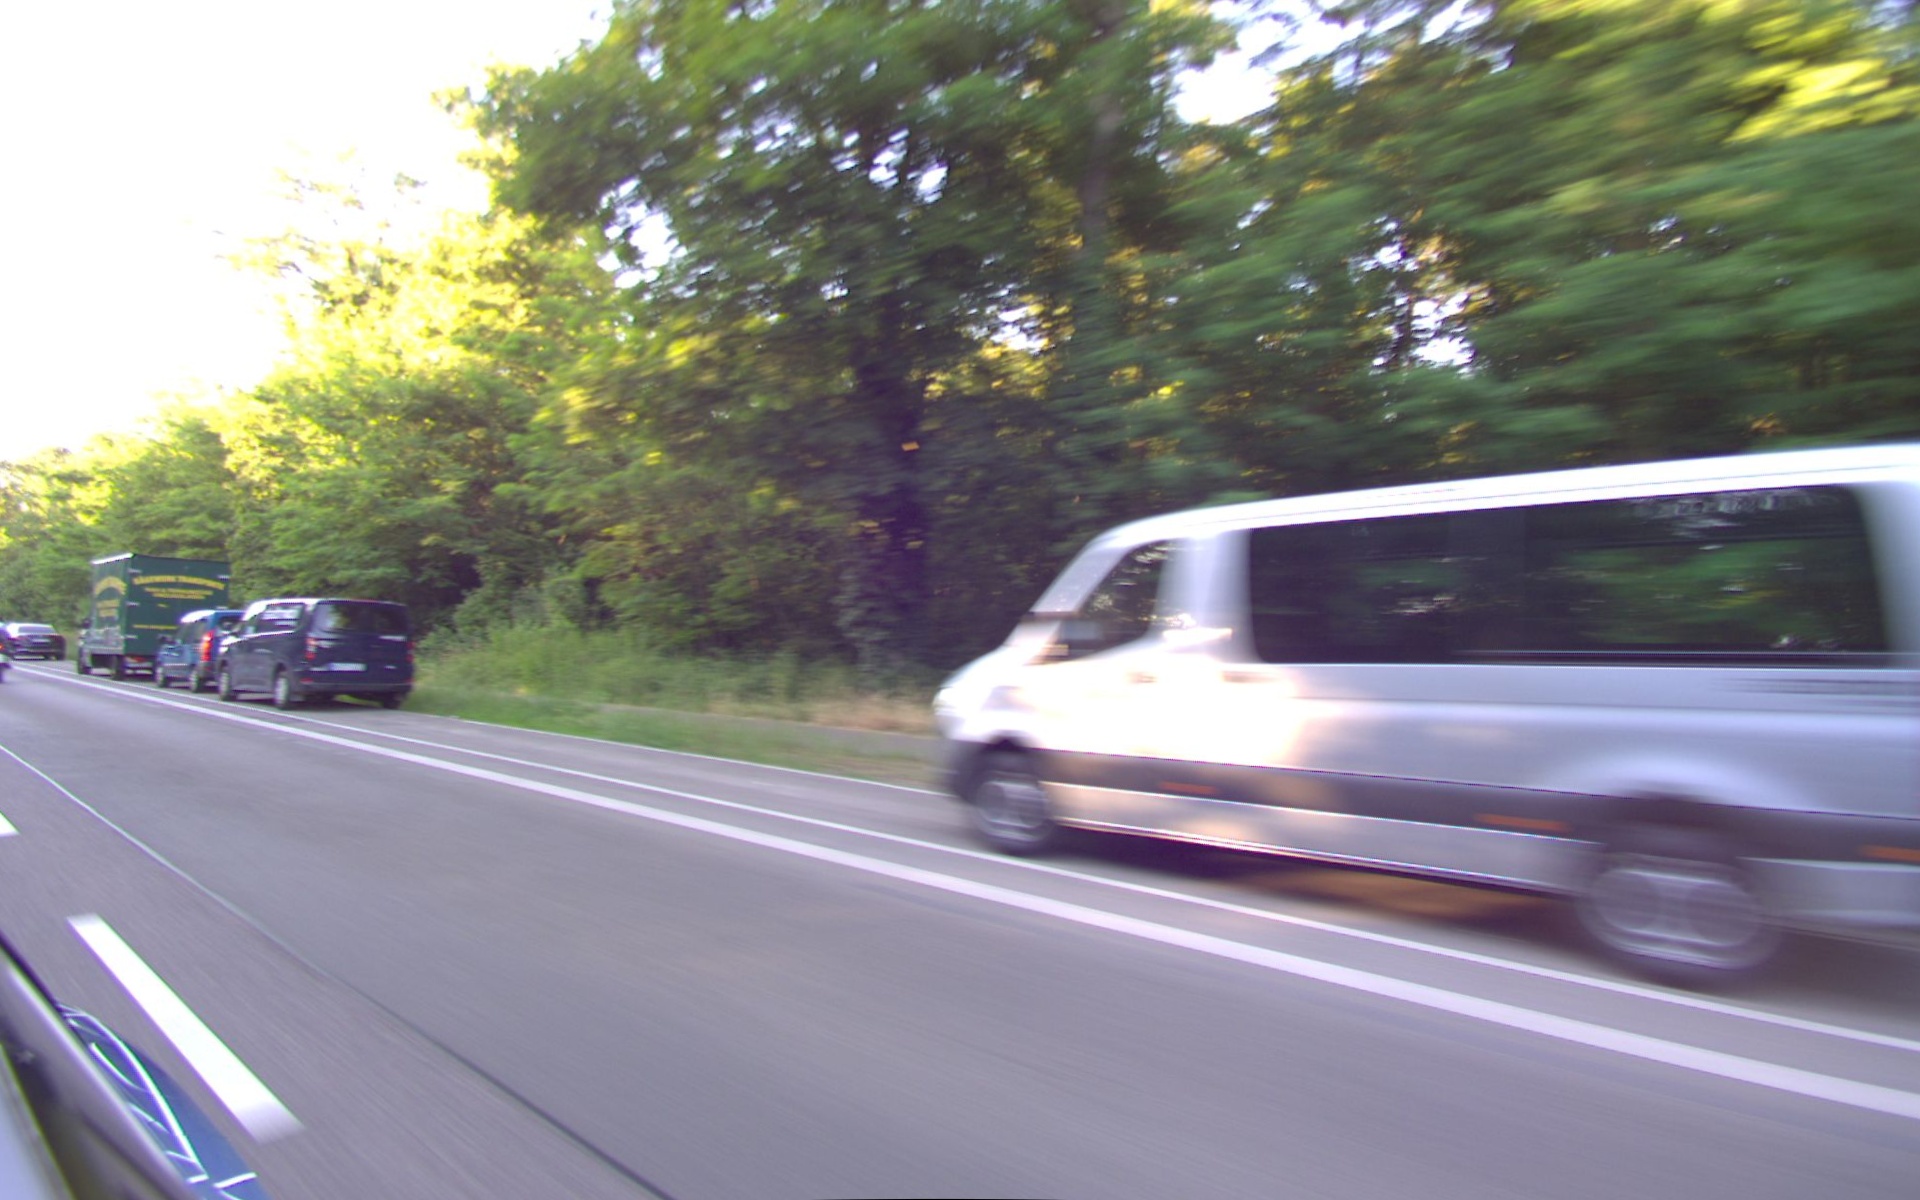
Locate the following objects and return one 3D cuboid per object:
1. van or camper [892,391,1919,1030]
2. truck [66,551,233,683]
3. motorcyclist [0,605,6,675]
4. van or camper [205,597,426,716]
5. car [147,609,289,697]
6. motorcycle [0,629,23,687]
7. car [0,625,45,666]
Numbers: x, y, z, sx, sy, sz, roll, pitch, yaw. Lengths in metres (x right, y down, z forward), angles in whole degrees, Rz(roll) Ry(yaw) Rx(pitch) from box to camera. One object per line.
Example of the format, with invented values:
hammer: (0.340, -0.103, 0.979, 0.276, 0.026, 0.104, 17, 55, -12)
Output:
van or camper: (2.652, 0.499, 6.011, 6.376, 2.409, 2.089, -1, -4, 40)
truck: (-22.313, 0.532, 27.754, 6.266, 3.232, 2.198, -1, -5, 40)
motorcyclist: (-22.950, 0.933, 23.866, 0.875, 1.636, 0.551, -1, -2, 41)
van or camper: (-12.180, 1.039, 19.030, 4.687, 1.971, 2.009, -1, -5, 39)
car: (-16.928, 1.188, 23.028, 3.755, 1.841, 1.587, -1, -5, 39)
motorcycle: (-22.910, 1.349, 23.935, 2.432, 1.319, 0.831, -1, -2, 41)
car: (-37.770, 1.798, 40.305, 3.760, 1.515, 1.585, -2, -5, 44)
